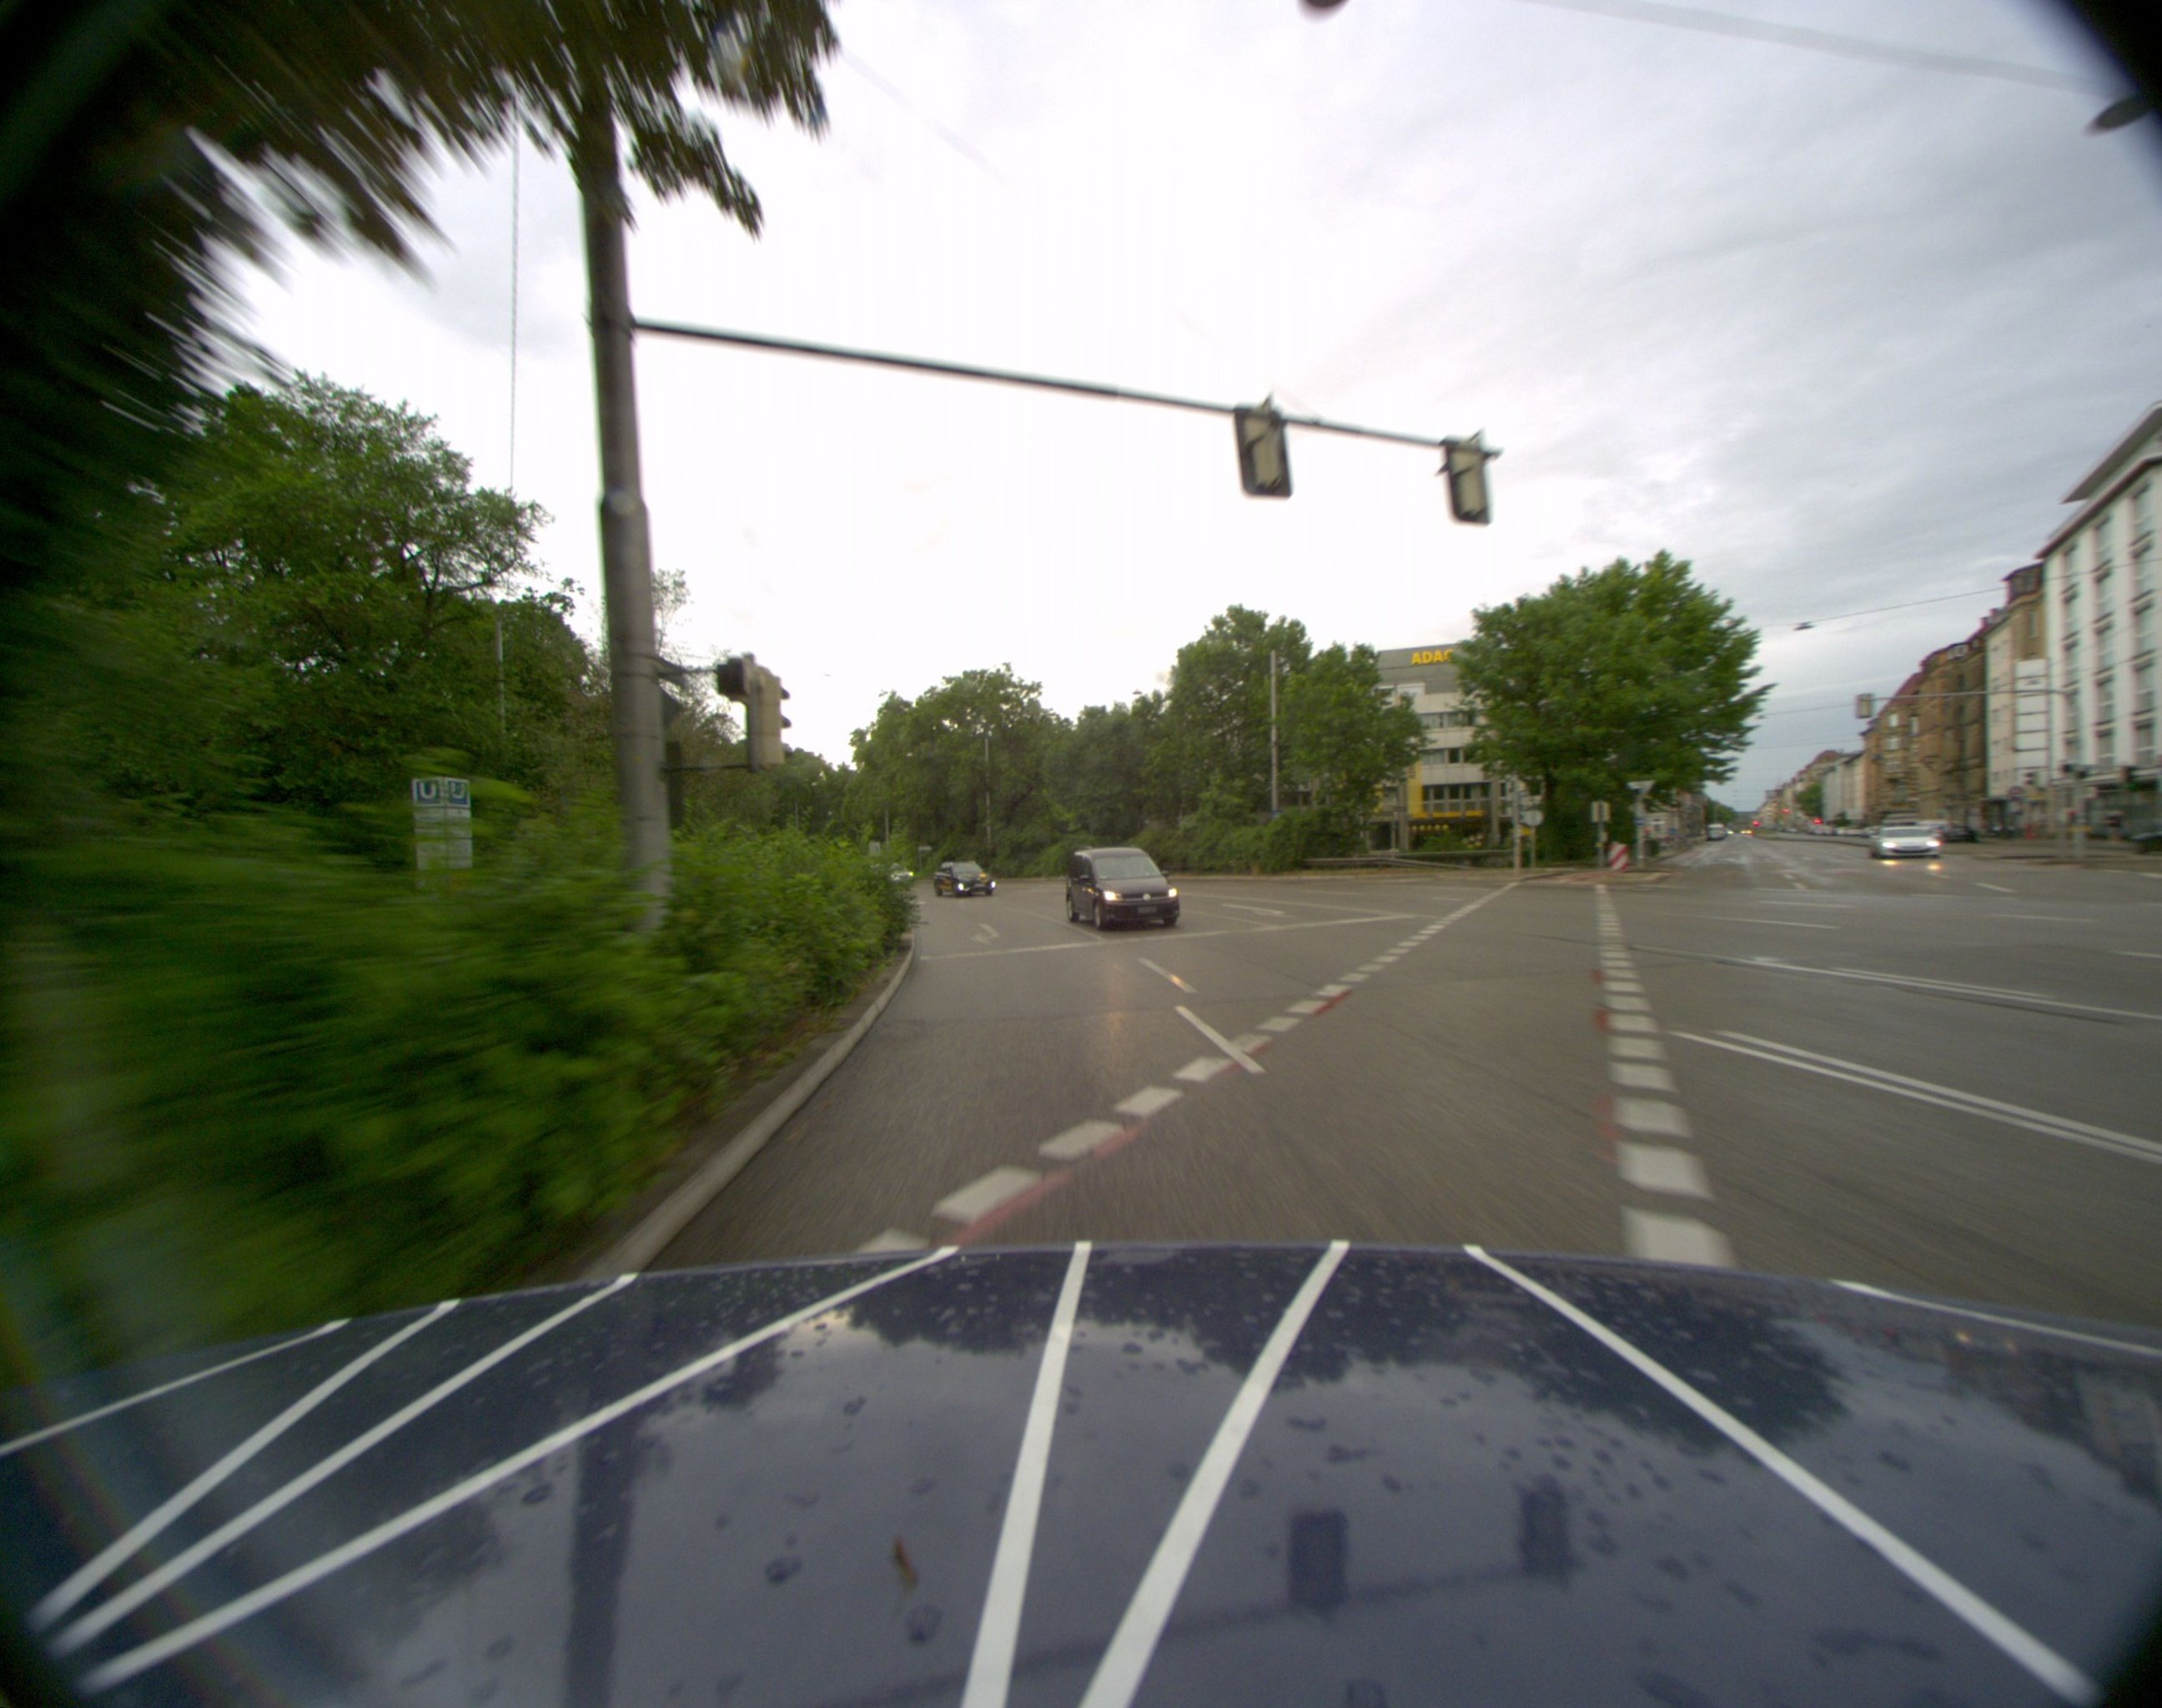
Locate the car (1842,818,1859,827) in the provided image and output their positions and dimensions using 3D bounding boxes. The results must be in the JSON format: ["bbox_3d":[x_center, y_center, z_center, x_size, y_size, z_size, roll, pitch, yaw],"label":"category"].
[{"bbox_3d":[118.896,-4.861,117.441,1.776,1.314,3.685,0,2,44],"label":"car"}]

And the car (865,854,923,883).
[{"bbox_3d":[-12.647,0.925,51.130,2.003,1.735,4.642,-3,2,-38],"label":"car"}]

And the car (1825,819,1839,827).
[{"bbox_3d":[135.824,-5.580,137.444,1.776,1.314,3.685,0,2,44],"label":"car"}]

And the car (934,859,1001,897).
[{"bbox_3d":[-5.387,1.063,35.695,1.934,1.532,3.991,-3,2,-26],"label":"car"}]

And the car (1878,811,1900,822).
[{"bbox_3d":[106.870,-4.950,100.576,1.776,1.314,3.685,0,2,43],"label":"car"}]

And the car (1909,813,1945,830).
[{"bbox_3d":[79.181,-3.044,71.173,1.871,1.569,4.007,0,2,43],"label":"car"}]

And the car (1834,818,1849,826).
[{"bbox_3d":[132.218,-5.485,132.150,1.776,1.314,3.685,0,2,44],"label":"car"}]

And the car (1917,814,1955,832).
[{"bbox_3d":[76.054,-2.759,67.613,1.871,1.569,4.007,0,2,43],"label":"car"}]

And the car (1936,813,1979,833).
[{"bbox_3d":[72.793,-2.571,63.147,1.871,1.569,4.007,0,2,43],"label":"car"}]

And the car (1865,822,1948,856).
[{"bbox_3d":[37.127,-0.708,34.293,1.995,1.443,4.236,0,2,40],"label":"car"}]

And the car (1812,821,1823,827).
[{"bbox_3d":[163.317,-6.657,168.441,1.776,1.314,3.685,0,2,44],"label":"car"}]

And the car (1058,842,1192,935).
[{"bbox_3d":[0.860,0.687,17.487,1.797,1.789,4.120,-3,1,-14],"label":"car"}]

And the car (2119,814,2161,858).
[{"bbox_3d":[46.182,-0.759,31.514,1.995,1.833,4.447,-1,2,29],"label":"car"}]

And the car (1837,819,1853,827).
[{"bbox_3d":[126.359,-5.157,125.676,1.776,1.314,3.685,0,2,44],"label":"car"}]
